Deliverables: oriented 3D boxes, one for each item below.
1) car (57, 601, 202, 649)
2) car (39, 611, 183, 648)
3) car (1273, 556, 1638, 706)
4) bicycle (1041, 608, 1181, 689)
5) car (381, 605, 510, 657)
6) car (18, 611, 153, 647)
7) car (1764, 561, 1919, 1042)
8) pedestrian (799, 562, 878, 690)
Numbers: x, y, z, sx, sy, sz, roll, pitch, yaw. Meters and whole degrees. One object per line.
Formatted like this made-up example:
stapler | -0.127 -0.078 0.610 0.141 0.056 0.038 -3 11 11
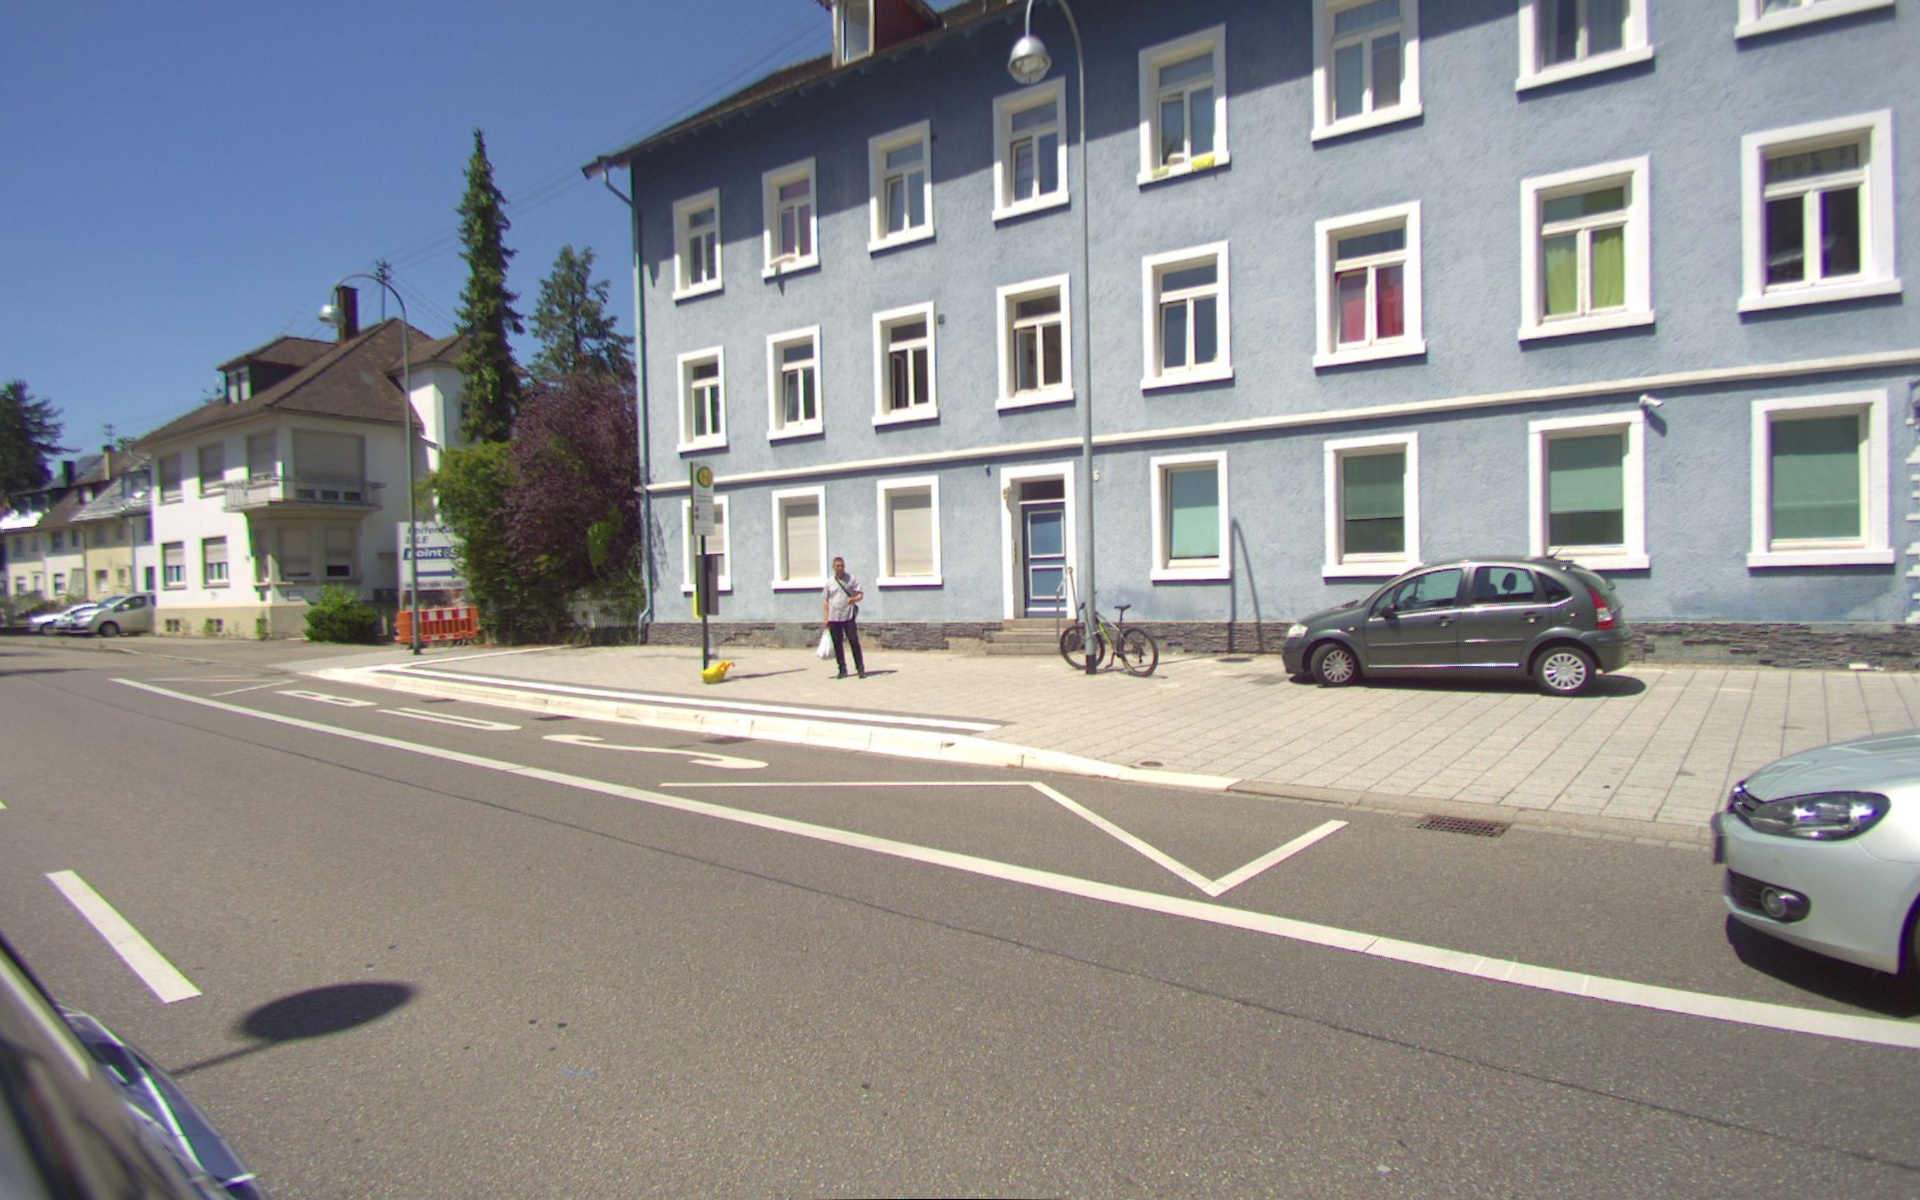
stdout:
car | -34.604 1.026 42.283 1.841 1.891 4.324 -1 -1 27
car | -36.581 1.247 43.711 1.972 1.507 4.431 -2 -2 36
car | 5.866 0.285 12.150 3.766 1.546 1.564 1 2 35
bicycle | 2.068 0.644 14.095 0.490 0.984 1.974 -8 6 -44
car | -18.295 1.074 36.158 1.556 1.551 3.901 -10 -4 24
car | -39.131 1.294 45.432 4.201 1.507 1.883 0 -1 -24
car | 5.157 0.604 2.852 4.385 1.542 1.820 -4 -7 37
pedestrian | -1.847 0.390 15.478 0.769 1.861 0.750 -3 3 33
